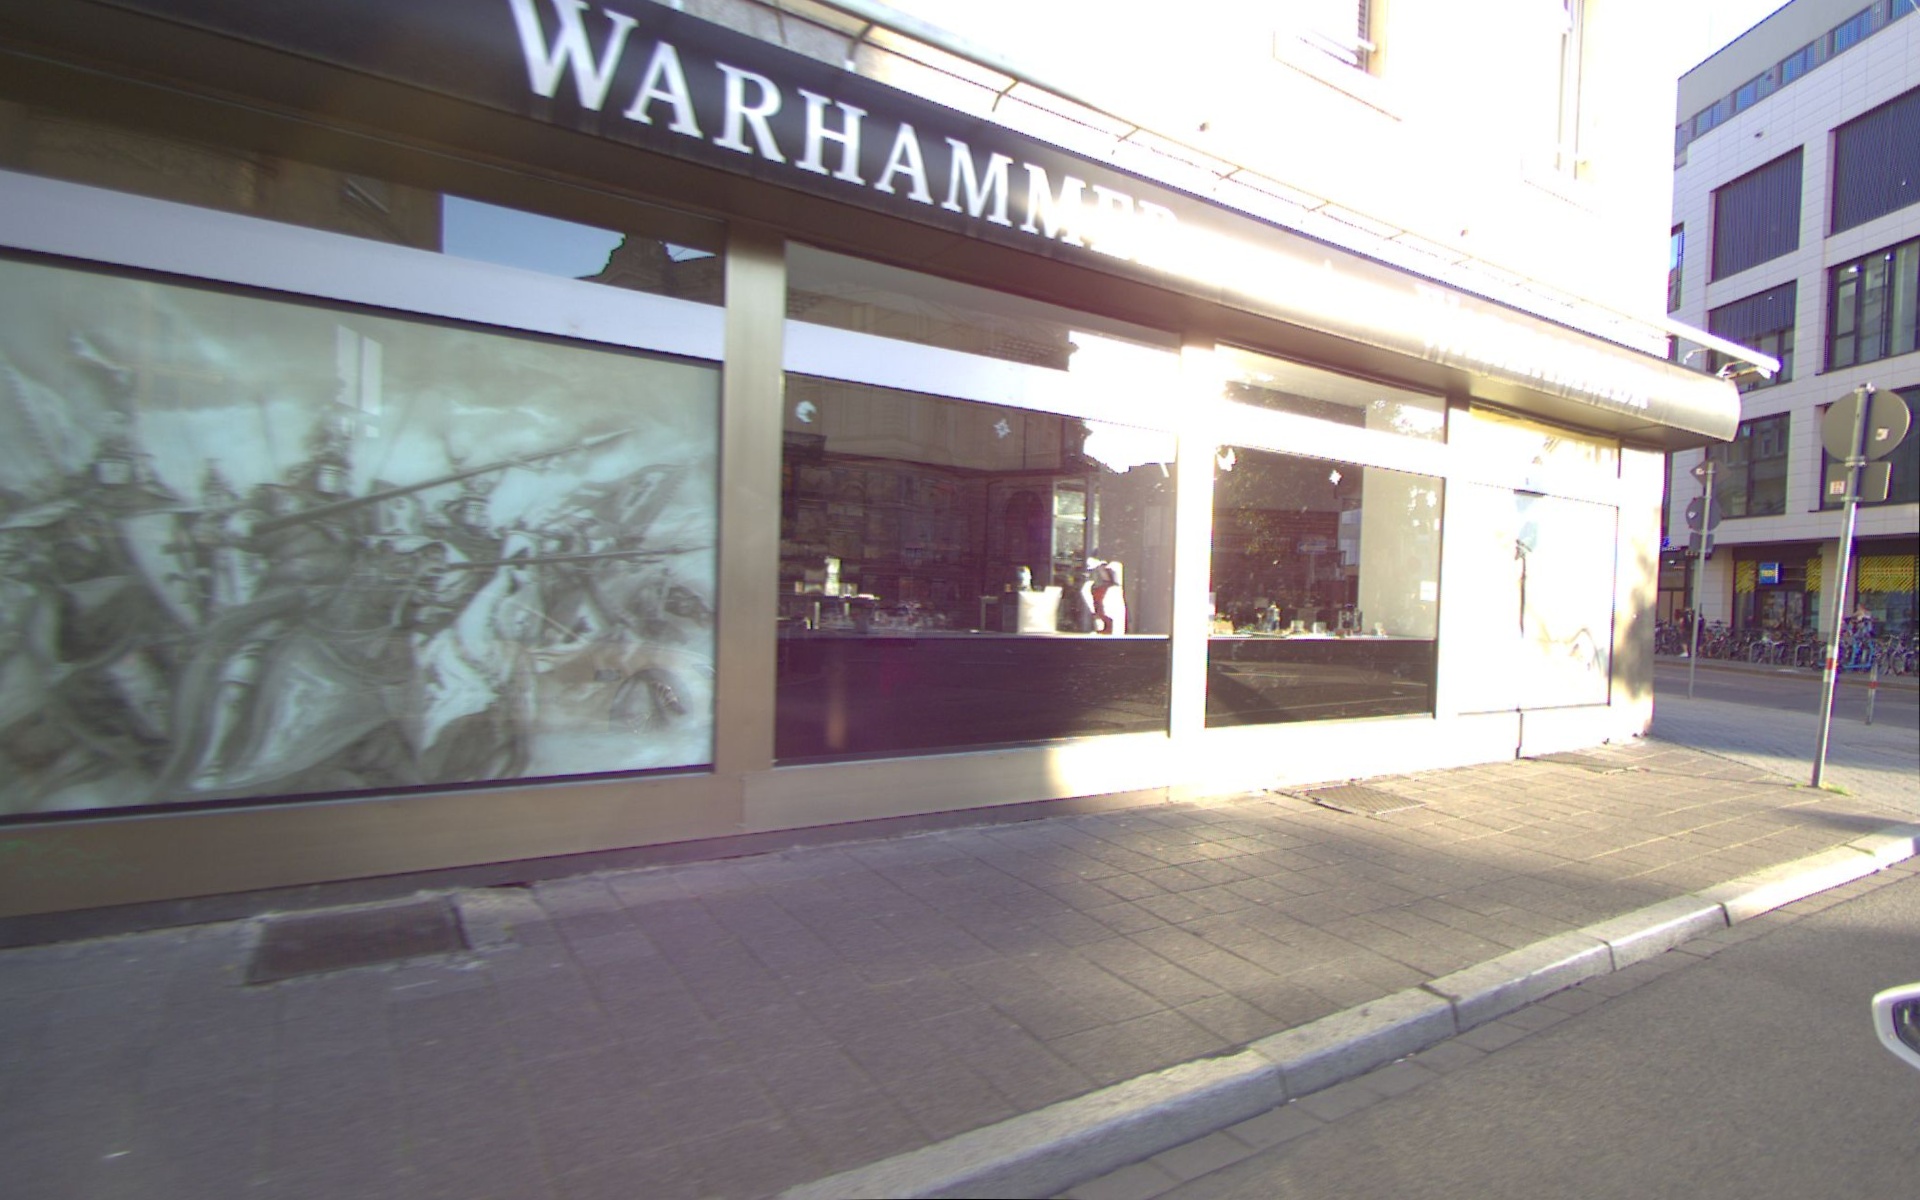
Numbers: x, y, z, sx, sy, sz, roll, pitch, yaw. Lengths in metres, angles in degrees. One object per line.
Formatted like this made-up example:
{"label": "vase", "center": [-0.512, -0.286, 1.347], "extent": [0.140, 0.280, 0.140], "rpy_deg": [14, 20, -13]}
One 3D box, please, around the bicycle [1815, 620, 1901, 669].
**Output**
{"label": "bicycle", "center": [25.966, 1.257, 29.096], "extent": [0.601, 1.271, 1.978], "rpy_deg": [3, 1, -2]}

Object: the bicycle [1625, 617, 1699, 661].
{"label": "bicycle", "center": [21.847, 1.214, 31.258], "extent": [1.941, 1.271, 0.513], "rpy_deg": [3, 1, -4]}

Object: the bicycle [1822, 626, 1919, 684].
{"label": "bicycle", "center": [21.994, 1.321, 24.278], "extent": [1.941, 1.271, 0.513], "rpy_deg": [3, 1, -5]}

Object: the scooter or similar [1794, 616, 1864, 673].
{"label": "scooter or similar", "center": [19.765, 1.010, 22.853], "extent": [1.246, 1.228, 0.387], "rpy_deg": [3, 1, -4]}

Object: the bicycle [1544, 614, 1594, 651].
{"label": "bicycle", "center": [23.050, 1.206, 38.049], "extent": [0.503, 1.271, 1.977], "rpy_deg": [2, 1, -4]}

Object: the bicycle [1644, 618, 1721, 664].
{"label": "bicycle", "center": [21.876, 1.227, 30.430], "extent": [1.941, 1.271, 0.513], "rpy_deg": [3, 1, -4]}

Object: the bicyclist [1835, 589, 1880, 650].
{"label": "bicyclist", "center": [25.985, 0.544, 29.087], "extent": [0.671, 1.718, 0.644], "rpy_deg": [2, 1, -2]}

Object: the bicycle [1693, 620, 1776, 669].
{"label": "bicycle", "center": [21.890, 1.257, 28.391], "extent": [1.941, 1.271, 0.513], "rpy_deg": [3, 1, -4]}

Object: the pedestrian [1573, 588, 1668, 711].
{"label": "pedestrian", "center": [9.116, 0.670, 13.881], "extent": [0.793, 1.634, 0.731], "rpy_deg": [2, 1, -22]}

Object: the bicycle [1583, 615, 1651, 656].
{"label": "bicycle", "center": [21.964, 1.186, 33.585], "extent": [1.941, 1.271, 0.513], "rpy_deg": [3, 1, -4]}

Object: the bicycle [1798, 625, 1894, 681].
{"label": "bicycle", "center": [21.957, 1.310, 24.908], "extent": [1.941, 1.271, 0.513], "rpy_deg": [3, 1, -4]}

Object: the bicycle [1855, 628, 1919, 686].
{"label": "bicycle", "center": [22.091, 1.338, 23.445], "extent": [1.941, 1.271, 0.513], "rpy_deg": [3, 1, -4]}

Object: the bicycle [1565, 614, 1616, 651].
{"label": "bicycle", "center": [23.753, 1.218, 37.869], "extent": [0.503, 1.271, 1.977], "rpy_deg": [2, 1, -4]}

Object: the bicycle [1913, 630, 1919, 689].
{"label": "bicycle", "center": [22.044, 1.357, 21.960], "extent": [1.941, 1.271, 0.513], "rpy_deg": [3, 1, -4]}

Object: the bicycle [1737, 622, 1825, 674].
{"label": "bicycle", "center": [22.028, 1.284, 26.971], "extent": [1.941, 1.271, 0.513], "rpy_deg": [3, 1, -4]}

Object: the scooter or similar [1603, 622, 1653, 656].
{"label": "scooter or similar", "center": [20.157, 1.172, 30.319], "extent": [1.246, 0.954, 0.387], "rpy_deg": [3, 1, -4]}

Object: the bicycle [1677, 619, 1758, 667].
{"label": "bicycle", "center": [21.845, 1.246, 28.991], "extent": [1.941, 1.271, 0.513], "rpy_deg": [3, 1, -4]}

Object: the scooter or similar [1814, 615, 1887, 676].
{"label": "scooter or similar", "center": [19.726, 0.997, 22.264], "extent": [1.246, 1.277, 0.387], "rpy_deg": [3, 1, -4]}

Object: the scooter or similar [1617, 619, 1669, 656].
{"label": "scooter or similar", "center": [20.137, 1.097, 29.638], "extent": [1.246, 1.005, 0.387], "rpy_deg": [3, 1, -4]}

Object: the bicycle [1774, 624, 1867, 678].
{"label": "bicycle", "center": [21.998, 1.301, 25.695], "extent": [1.941, 1.271, 0.513], "rpy_deg": [3, 1, -4]}

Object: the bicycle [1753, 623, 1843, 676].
{"label": "bicycle", "center": [21.930, 1.289, 26.299], "extent": [1.941, 1.271, 0.513], "rpy_deg": [3, 1, -4]}

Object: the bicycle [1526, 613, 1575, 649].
{"label": "bicycle", "center": [22.317, 1.157, 38.010], "extent": [0.503, 1.271, 1.977], "rpy_deg": [2, 1, -4]}

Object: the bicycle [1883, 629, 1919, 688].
{"label": "bicycle", "center": [22.042, 1.347, 22.677], "extent": [1.941, 1.271, 0.513], "rpy_deg": [3, 1, -4]}

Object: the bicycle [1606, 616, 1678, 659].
{"label": "bicycle", "center": [21.726, 1.197, 32.000], "extent": [1.941, 1.271, 0.513], "rpy_deg": [3, 1, -4]}

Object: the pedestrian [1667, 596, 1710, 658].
{"label": "pedestrian", "center": [20.816, 0.768, 28.711], "extent": [0.671, 1.718, 0.644], "rpy_deg": [2, 1, 1]}

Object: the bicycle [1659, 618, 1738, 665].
{"label": "bicycle", "center": [21.777, 1.234, 29.619], "extent": [1.941, 1.271, 0.513], "rpy_deg": [3, 1, -4]}

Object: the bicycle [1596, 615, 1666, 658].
{"label": "bicycle", "center": [21.846, 1.193, 32.722], "extent": [1.941, 1.271, 0.513], "rpy_deg": [3, 1, -4]}

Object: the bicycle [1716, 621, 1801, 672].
{"label": "bicycle", "center": [21.977, 1.272, 27.652], "extent": [1.941, 1.271, 0.513], "rpy_deg": [3, 1, -4]}
